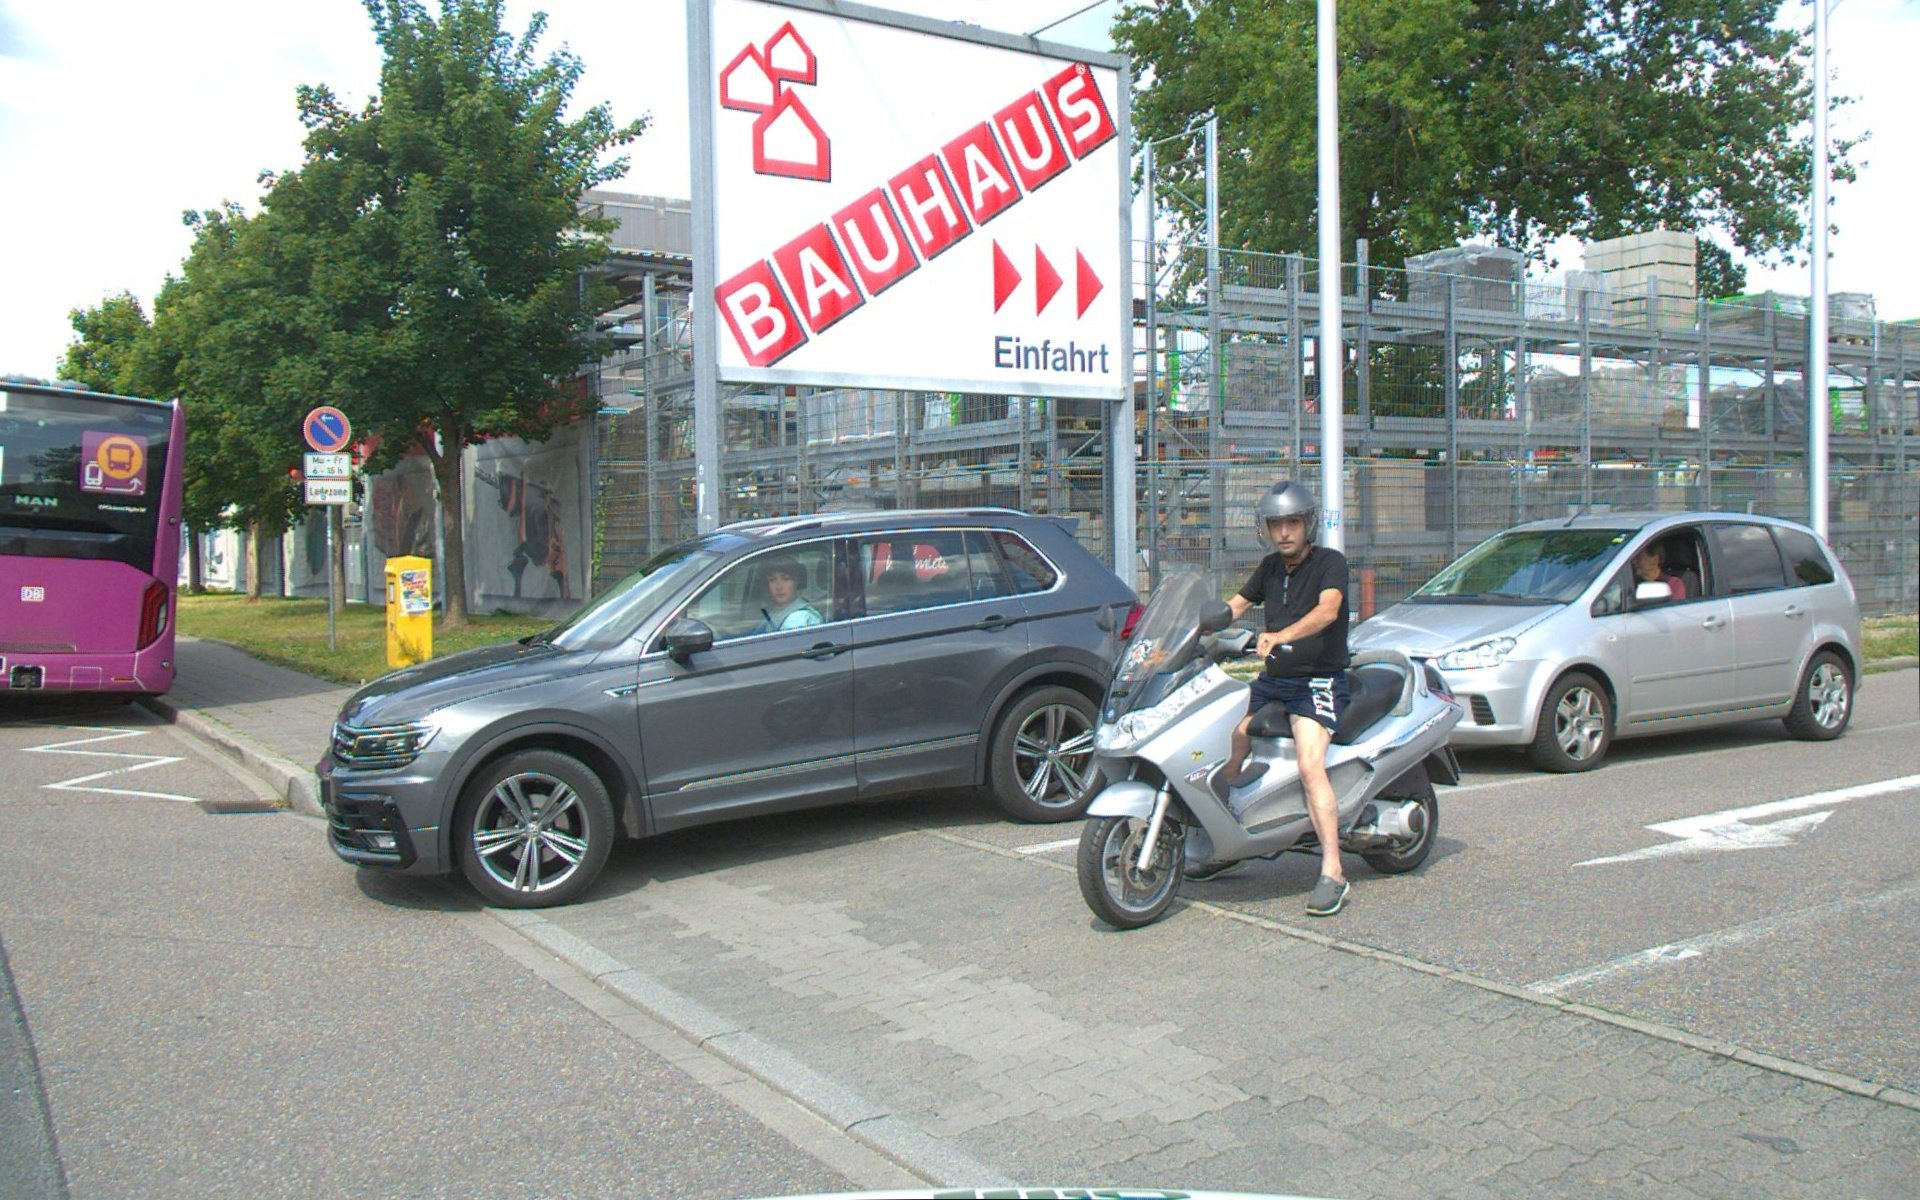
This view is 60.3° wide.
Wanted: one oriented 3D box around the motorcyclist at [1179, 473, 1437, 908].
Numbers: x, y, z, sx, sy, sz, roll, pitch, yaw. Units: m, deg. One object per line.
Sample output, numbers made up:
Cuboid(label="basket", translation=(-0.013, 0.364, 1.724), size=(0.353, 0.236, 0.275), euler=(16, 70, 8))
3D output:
Cuboid(label="motorcyclist", translation=(1.422, 0.327, 6.812), size=(0.677, 1.657, 0.781), euler=(-2, 2, -30))

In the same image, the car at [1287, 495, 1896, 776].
Cuboid(label="car", translation=(4.403, 0.123, 11.377), size=(4.152, 1.591, 1.706), euler=(-3, 2, -30))

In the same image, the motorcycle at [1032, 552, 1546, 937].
Cuboid(label="motorcycle", translation=(1.398, 0.498, 6.793), size=(2.183, 1.328, 0.665), euler=(-3, 2, -31))

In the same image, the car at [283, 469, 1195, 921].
Cuboid(label="car", translation=(-1.098, 0.305, 8.604), size=(4.319, 1.694, 1.755), euler=(-5, 3, -26))

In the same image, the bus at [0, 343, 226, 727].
Cuboid(label="bus", translation=(-11.279, -0.700, 19.836), size=(2.857, 3.422, 11.442), euler=(-3, 2, -32))
